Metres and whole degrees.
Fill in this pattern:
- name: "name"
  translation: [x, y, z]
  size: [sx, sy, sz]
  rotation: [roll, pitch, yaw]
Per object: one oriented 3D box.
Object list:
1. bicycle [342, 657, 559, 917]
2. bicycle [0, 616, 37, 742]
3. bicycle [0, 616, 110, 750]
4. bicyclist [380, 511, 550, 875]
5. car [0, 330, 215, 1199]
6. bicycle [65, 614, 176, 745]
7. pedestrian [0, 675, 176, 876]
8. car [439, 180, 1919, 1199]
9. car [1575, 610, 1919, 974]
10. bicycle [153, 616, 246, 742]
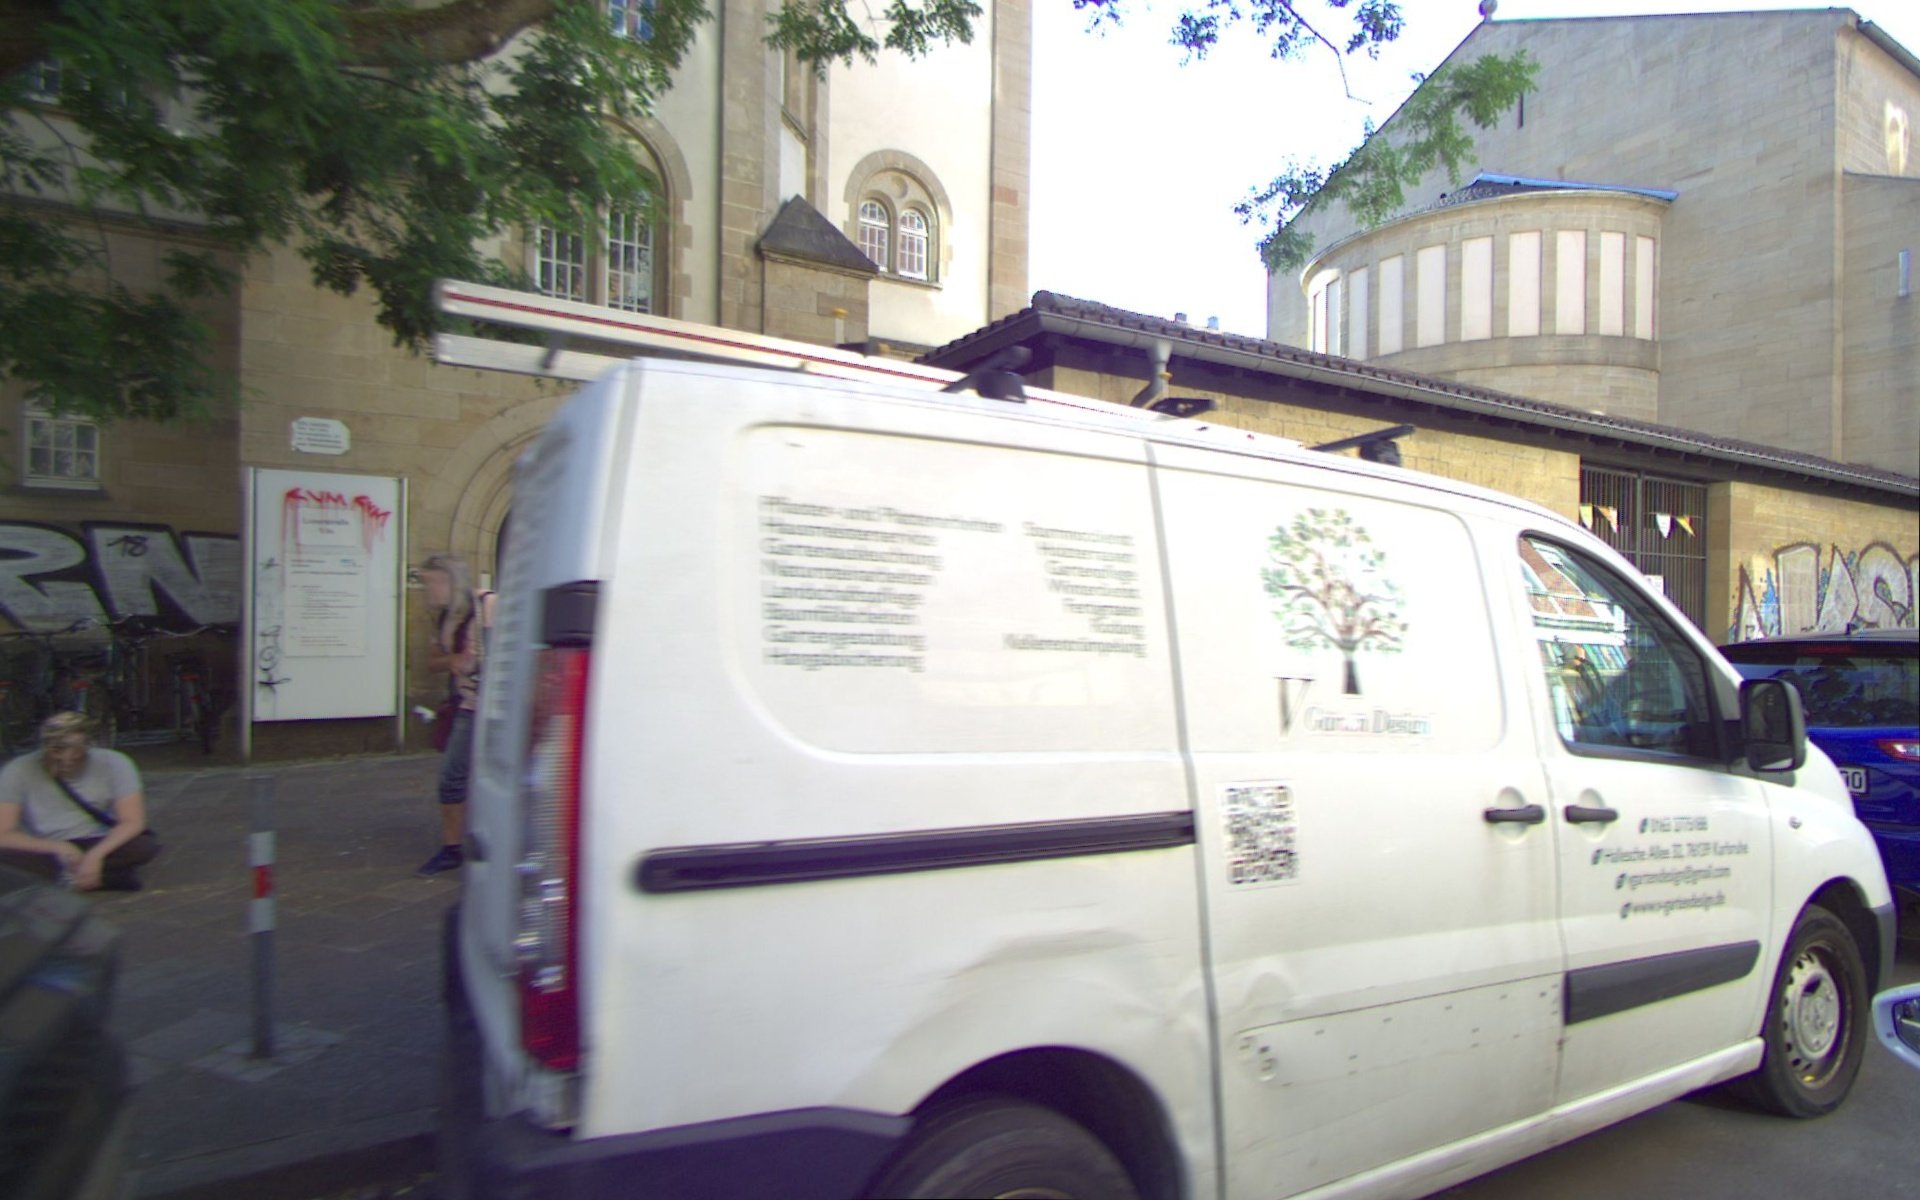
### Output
- name: "bicycle"
  translation: [-2.556, 0.853, 5.241]
  size: [0.814, 0.935, 1.758]
  rotation: [1, 2, -21]
- name: "bicycle"
  translation: [-8.512, 0.684, 8.630]
  size: [0.473, 1.068, 1.767]
  rotation: [0, 0, -30]
- name: "bicycle"
  translation: [-8.115, 0.687, 8.971]
  size: [0.473, 1.068, 1.767]
  rotation: [0, 0, -30]
- name: "bicyclist"
  translation: [-2.560, 0.438, 5.278]
  size: [0.682, 1.746, 0.803]
  rotation: [2, 3, -21]
- name: "car"
  translation: [-3.195, 0.526, 0.605]
  size: [4.242, 1.668, 1.731]
  rotation: [1, 0, -32]
- name: "bicycle"
  translation: [-7.676, 0.675, 9.246]
  size: [0.473, 1.068, 1.767]
  rotation: [0, 0, -30]
- name: "pedestrian"
  translation: [-4.318, 0.790, 4.784]
  size: [0.904, 0.788, 0.700]
  rotation: [1, 0, 36]
- name: "car"
  translation: [0.926, 0.490, 3.043]
  size: [4.410, 1.887, 1.837]
  rotation: [1, 0, -29]
- name: "car"
  translation: [5.324, 0.836, 5.565]
  size: [3.815, 1.496, 1.679]
  rotation: [1, -2, -31]
- name: "bicycle"
  translation: [-7.223, 0.703, 9.593]
  size: [0.473, 1.068, 1.767]
  rotation: [0, 0, -30]
